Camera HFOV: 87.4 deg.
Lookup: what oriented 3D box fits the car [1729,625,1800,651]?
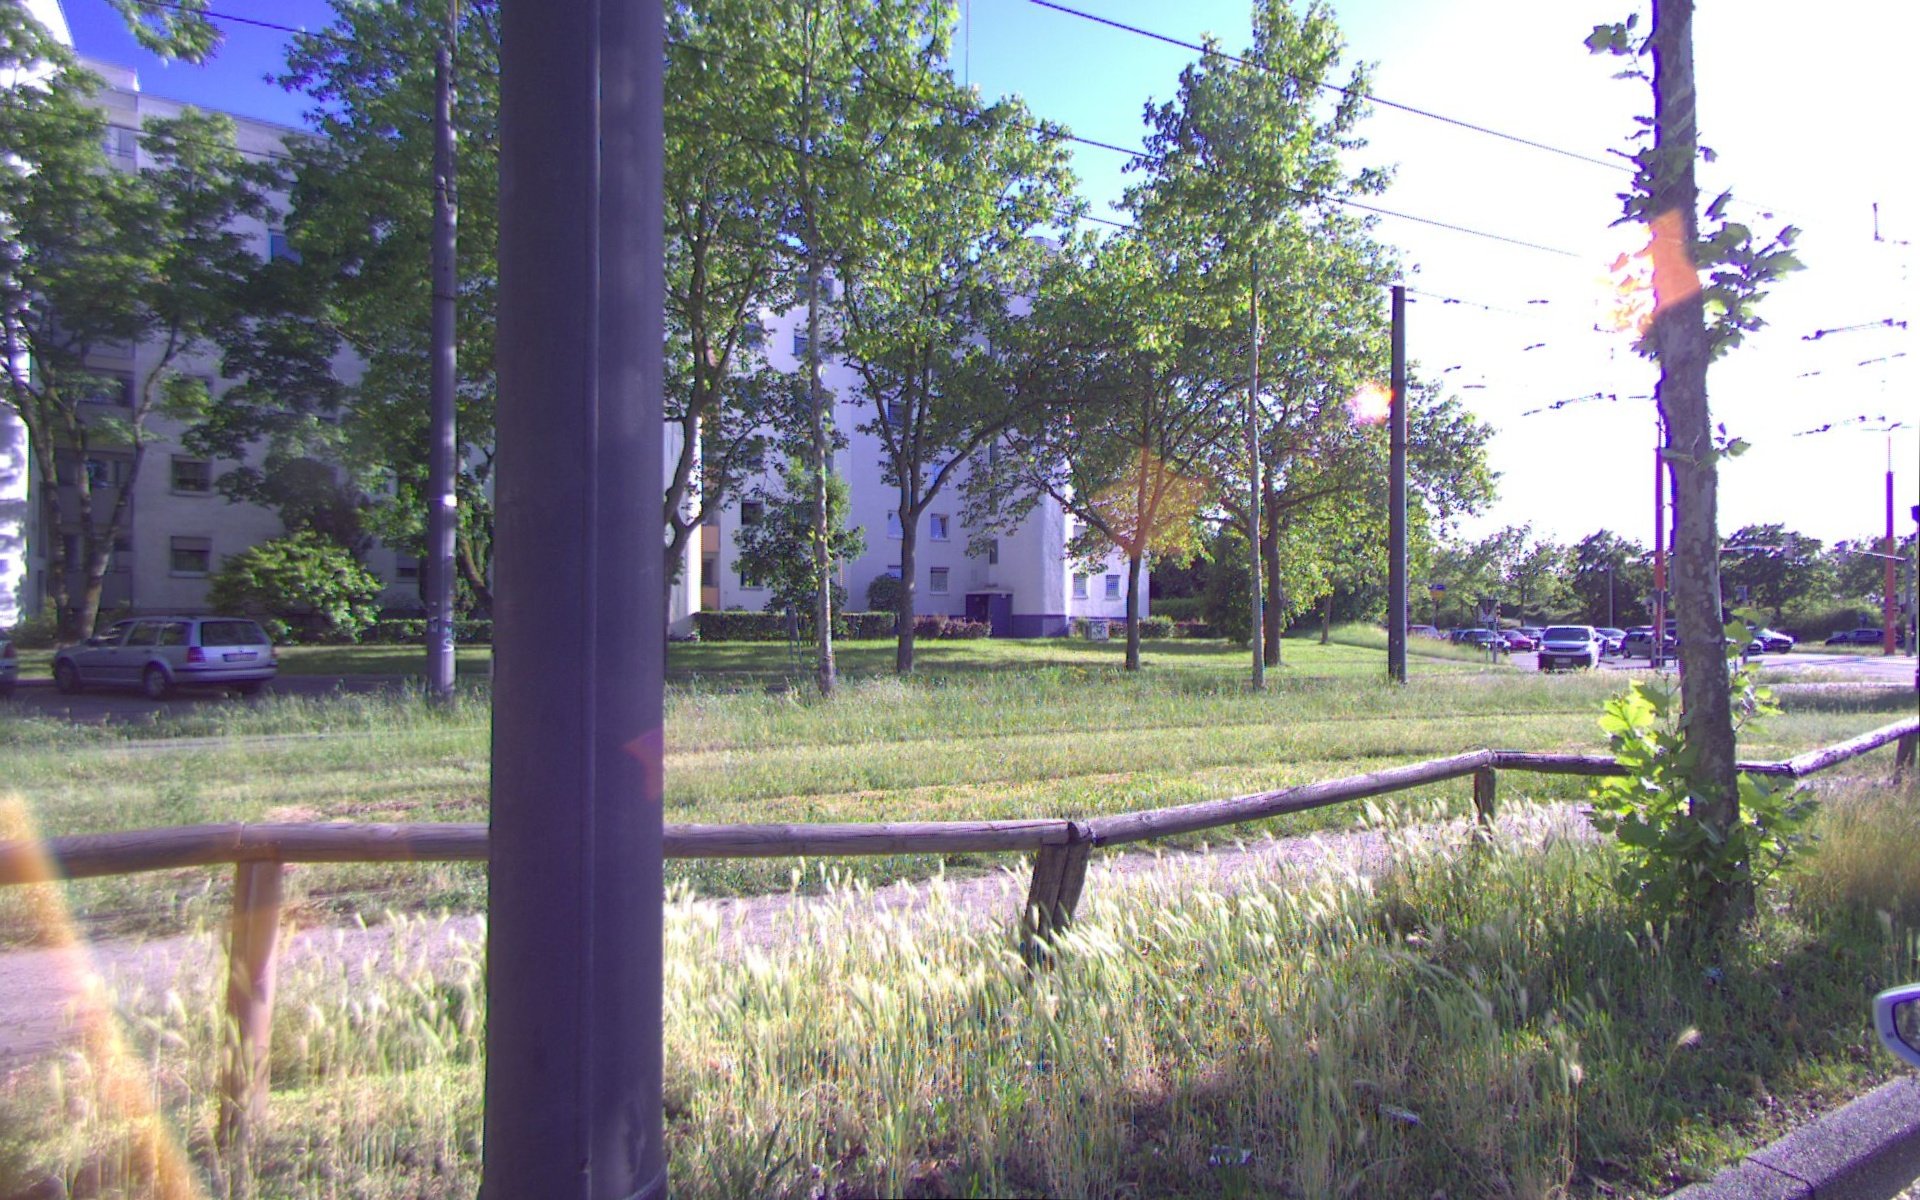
[{"bbox_3d":[59.695,2.805,74.642,1.765,1.814,4.129,1,-1,-5],"label":"car"}]

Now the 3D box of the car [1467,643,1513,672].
[{"bbox_3d":[33.771,3.647,64.088,1.623,1.640,4.297,1,-1,14],"label":"car"}]

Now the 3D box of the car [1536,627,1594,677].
[{"bbox_3d":[24.699,2.044,40.949,1.802,1.845,4.888,1,-1,34],"label":"car"}]

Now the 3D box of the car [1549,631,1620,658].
[{"bbox_3d":[38.927,2.755,62.737,1.624,1.540,4.638,1,-1,1],"label":"car"}]

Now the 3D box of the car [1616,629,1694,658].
[{"bbox_3d":[38.973,2.407,56.450,1.624,1.460,3.841,1,-1,-2],"label":"car"}]

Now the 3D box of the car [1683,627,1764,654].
[{"bbox_3d":[45.583,2.392,60.063,1.513,1.434,4.154,1,-1,-3],"label":"car"}]

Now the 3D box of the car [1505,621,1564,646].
[{"bbox_3d":[42.279,2.430,74.071,1.721,1.669,4.644,1,-1,1],"label":"car"}]

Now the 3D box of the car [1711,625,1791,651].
[{"bbox_3d":[48.661,2.321,61.897,1.513,1.434,4.154,1,-1,-3],"label":"car"}]

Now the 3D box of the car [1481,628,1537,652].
[{"bbox_3d":[38.457,2.775,70.452,1.624,1.540,4.200,1,-1,1],"label":"car"}]

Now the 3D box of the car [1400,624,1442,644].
[{"bbox_3d":[38.653,2.814,84.394,1.624,1.540,4.200,1,-1,1],"label":"car"}]

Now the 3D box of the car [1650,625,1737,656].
[{"bbox_3d":[42.335,2.307,58.106,1.624,1.669,4.644,1,-1,1],"label":"car"}]

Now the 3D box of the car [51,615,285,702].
[{"bbox_3d":[-14.529,1.012,18.434,3.830,1.421,1.581,1,0,20],"label":"car"}]

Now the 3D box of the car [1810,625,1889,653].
[{"bbox_3d":[62.536,2.720,70.699,1.764,1.814,4.130,1,-1,-4],"label":"car"}]

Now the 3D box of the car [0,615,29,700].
[{"bbox_3d":[-17.979,0.949,17.160,3.567,1.421,1.581,1,0,20],"label":"car"}]
